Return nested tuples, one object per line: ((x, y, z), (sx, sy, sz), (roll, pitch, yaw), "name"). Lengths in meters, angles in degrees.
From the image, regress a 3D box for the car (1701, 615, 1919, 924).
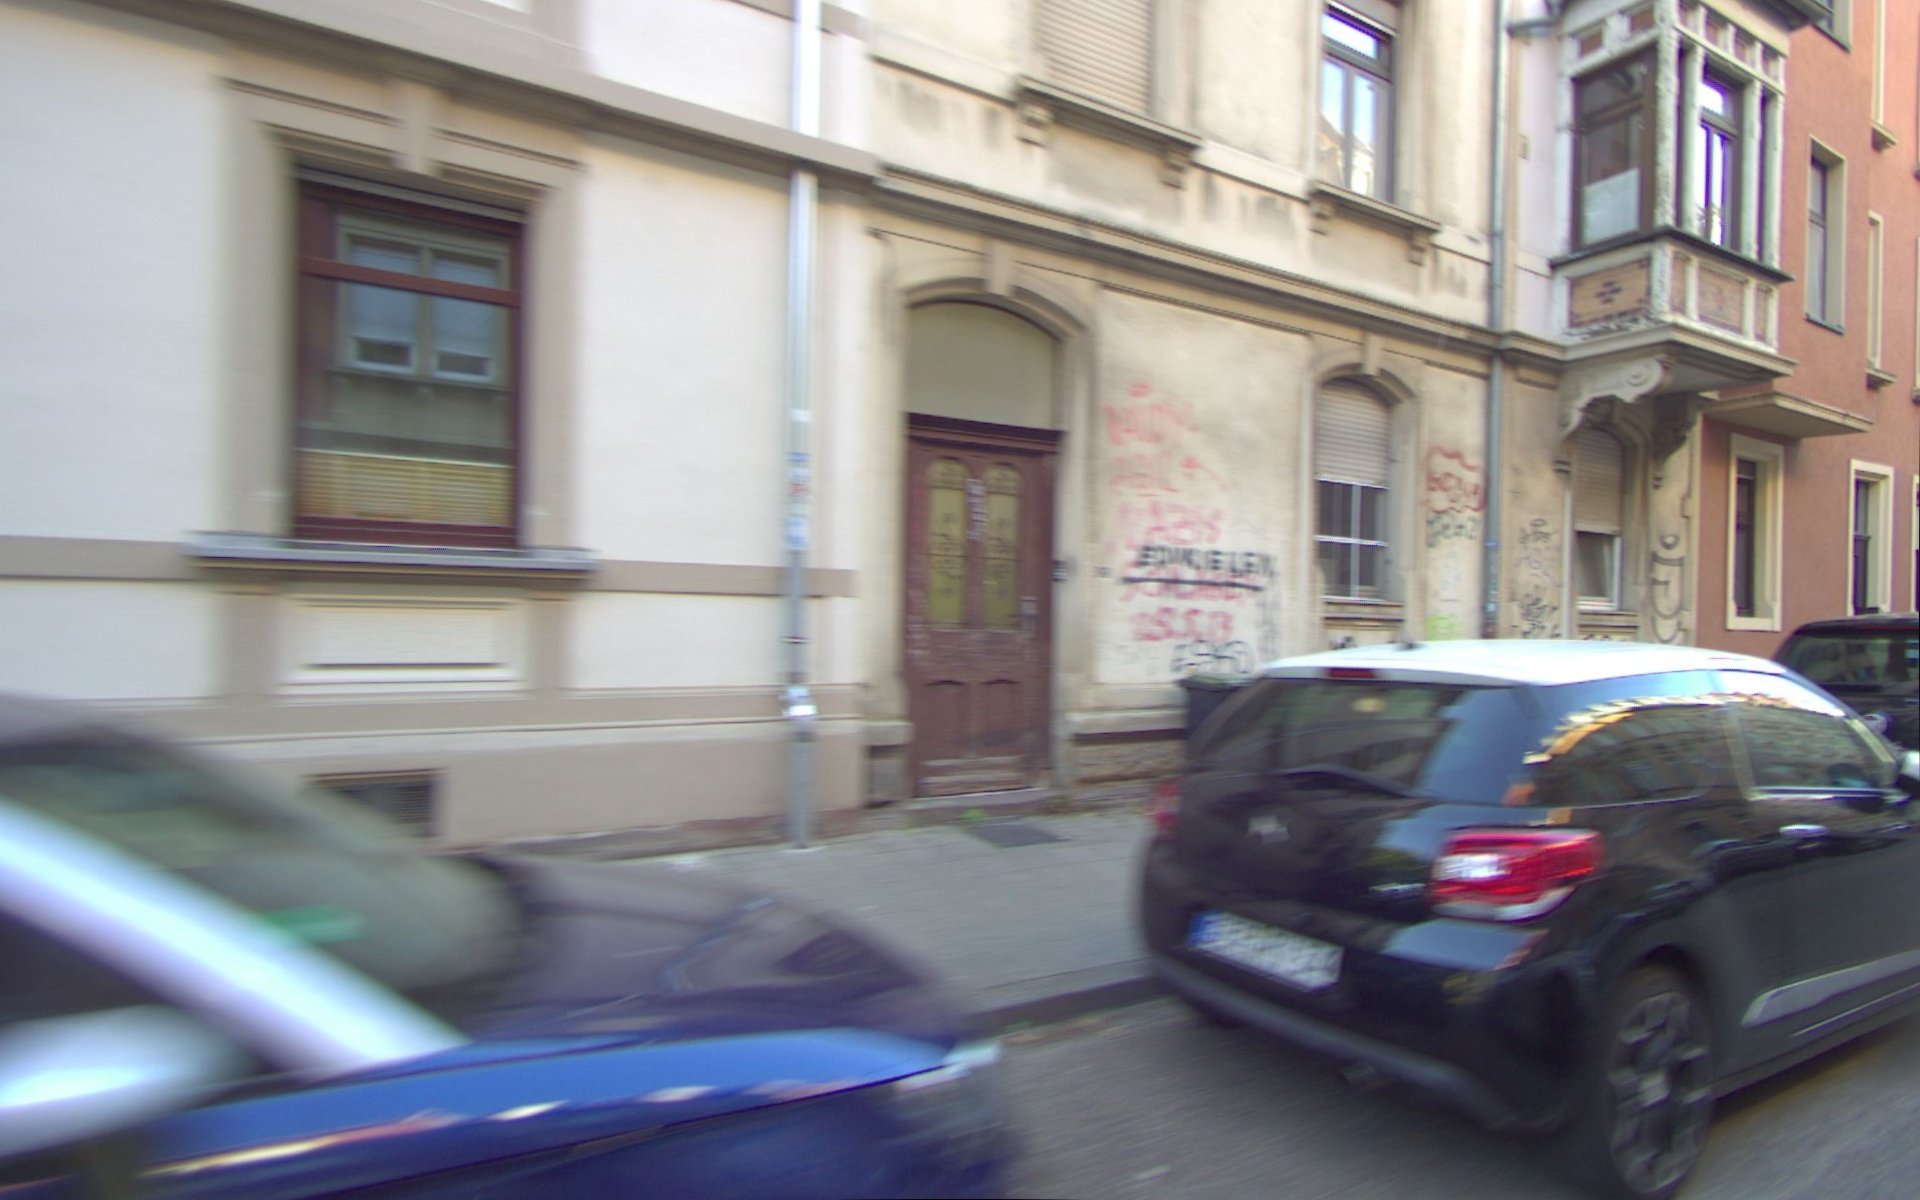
((6.828, 0.945, 6.506), (4.139, 1.639, 1.753), (1, -2, -30), "car")

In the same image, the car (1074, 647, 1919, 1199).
((2.449, 0.939, 3.839), (3.795, 1.474, 1.635), (1, -4, -31), "car")

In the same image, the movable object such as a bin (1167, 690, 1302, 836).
((1.967, 1.136, 7.212), (0.725, 0.932, 0.609), (1, -1, -30), "movable object such as a bin")

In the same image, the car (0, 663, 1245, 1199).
((-1.552, 0.859, 1.442), (3.700, 1.422, 1.772), (1, -2, -32), "car")
